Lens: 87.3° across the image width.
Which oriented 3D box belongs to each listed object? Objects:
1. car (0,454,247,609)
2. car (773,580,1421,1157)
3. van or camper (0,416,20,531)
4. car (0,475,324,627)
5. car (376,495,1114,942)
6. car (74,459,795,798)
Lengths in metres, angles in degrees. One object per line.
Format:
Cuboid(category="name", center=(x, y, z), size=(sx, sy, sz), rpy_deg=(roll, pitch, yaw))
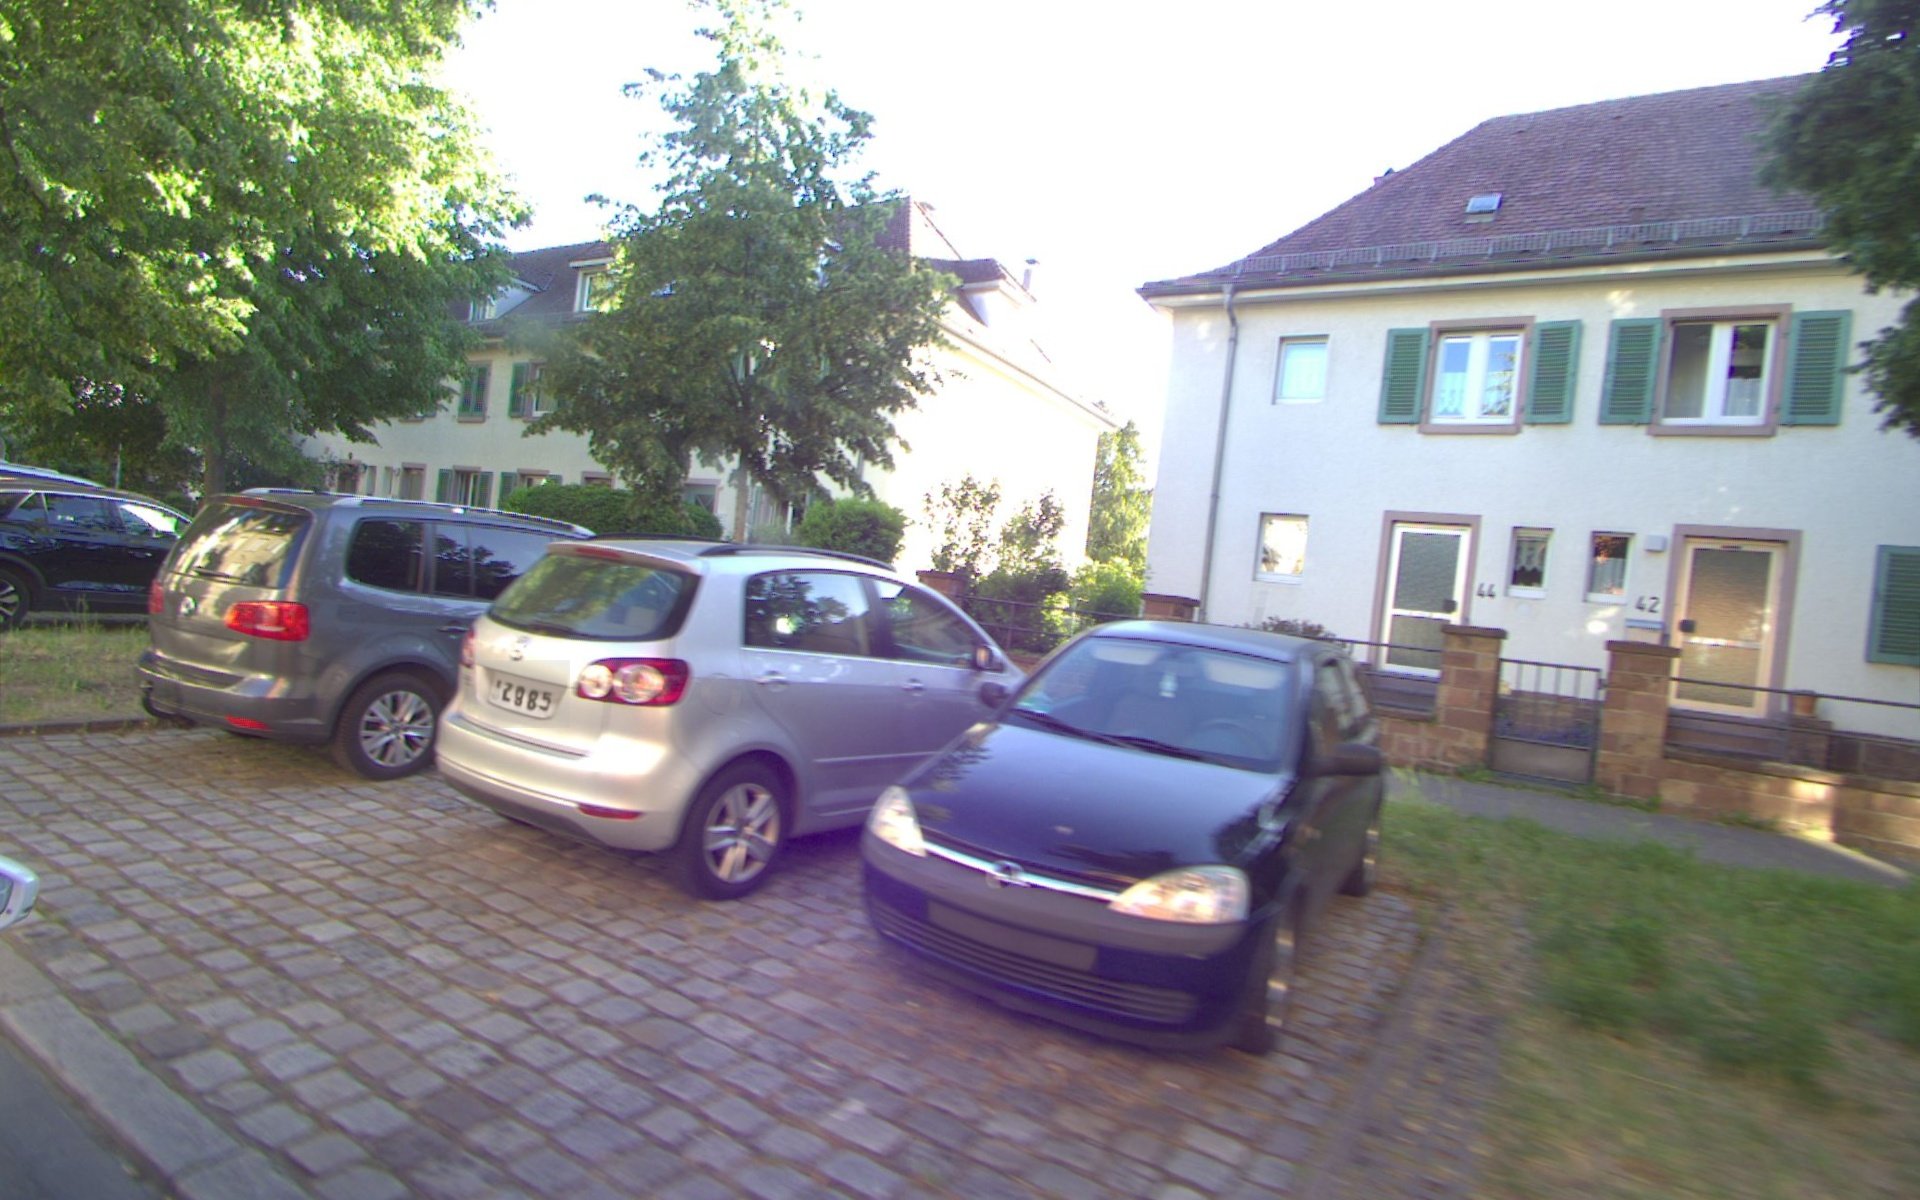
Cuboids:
Cuboid(category="car", center=(-11.984, -0.931, 12.561), size=(1.803, 1.732, 4.620), rpy_deg=(7, 1, 33))
Cuboid(category="car", center=(1.014, 0.775, 4.758), size=(1.562, 1.473, 3.721), rpy_deg=(7, 3, 31))
Cuboid(category="van or camper", center=(-25.453, -3.180, 21.732), size=(2.425, 2.683, 7.143), rpy_deg=(7, 3, 33))
Cuboid(category="car", center=(-9.795, -0.546, 11.348), size=(1.666, 1.497, 4.067), rpy_deg=(8, 3, 32))
Cuboid(category="car", center=(-0.844, 0.464, 6.052), size=(1.663, 1.655, 4.269), rpy_deg=(7, 3, 35))
Cuboid(category="car", center=(-3.352, 0.119, 7.514), size=(1.780, 1.655, 4.543), rpy_deg=(7, 2, 26))
